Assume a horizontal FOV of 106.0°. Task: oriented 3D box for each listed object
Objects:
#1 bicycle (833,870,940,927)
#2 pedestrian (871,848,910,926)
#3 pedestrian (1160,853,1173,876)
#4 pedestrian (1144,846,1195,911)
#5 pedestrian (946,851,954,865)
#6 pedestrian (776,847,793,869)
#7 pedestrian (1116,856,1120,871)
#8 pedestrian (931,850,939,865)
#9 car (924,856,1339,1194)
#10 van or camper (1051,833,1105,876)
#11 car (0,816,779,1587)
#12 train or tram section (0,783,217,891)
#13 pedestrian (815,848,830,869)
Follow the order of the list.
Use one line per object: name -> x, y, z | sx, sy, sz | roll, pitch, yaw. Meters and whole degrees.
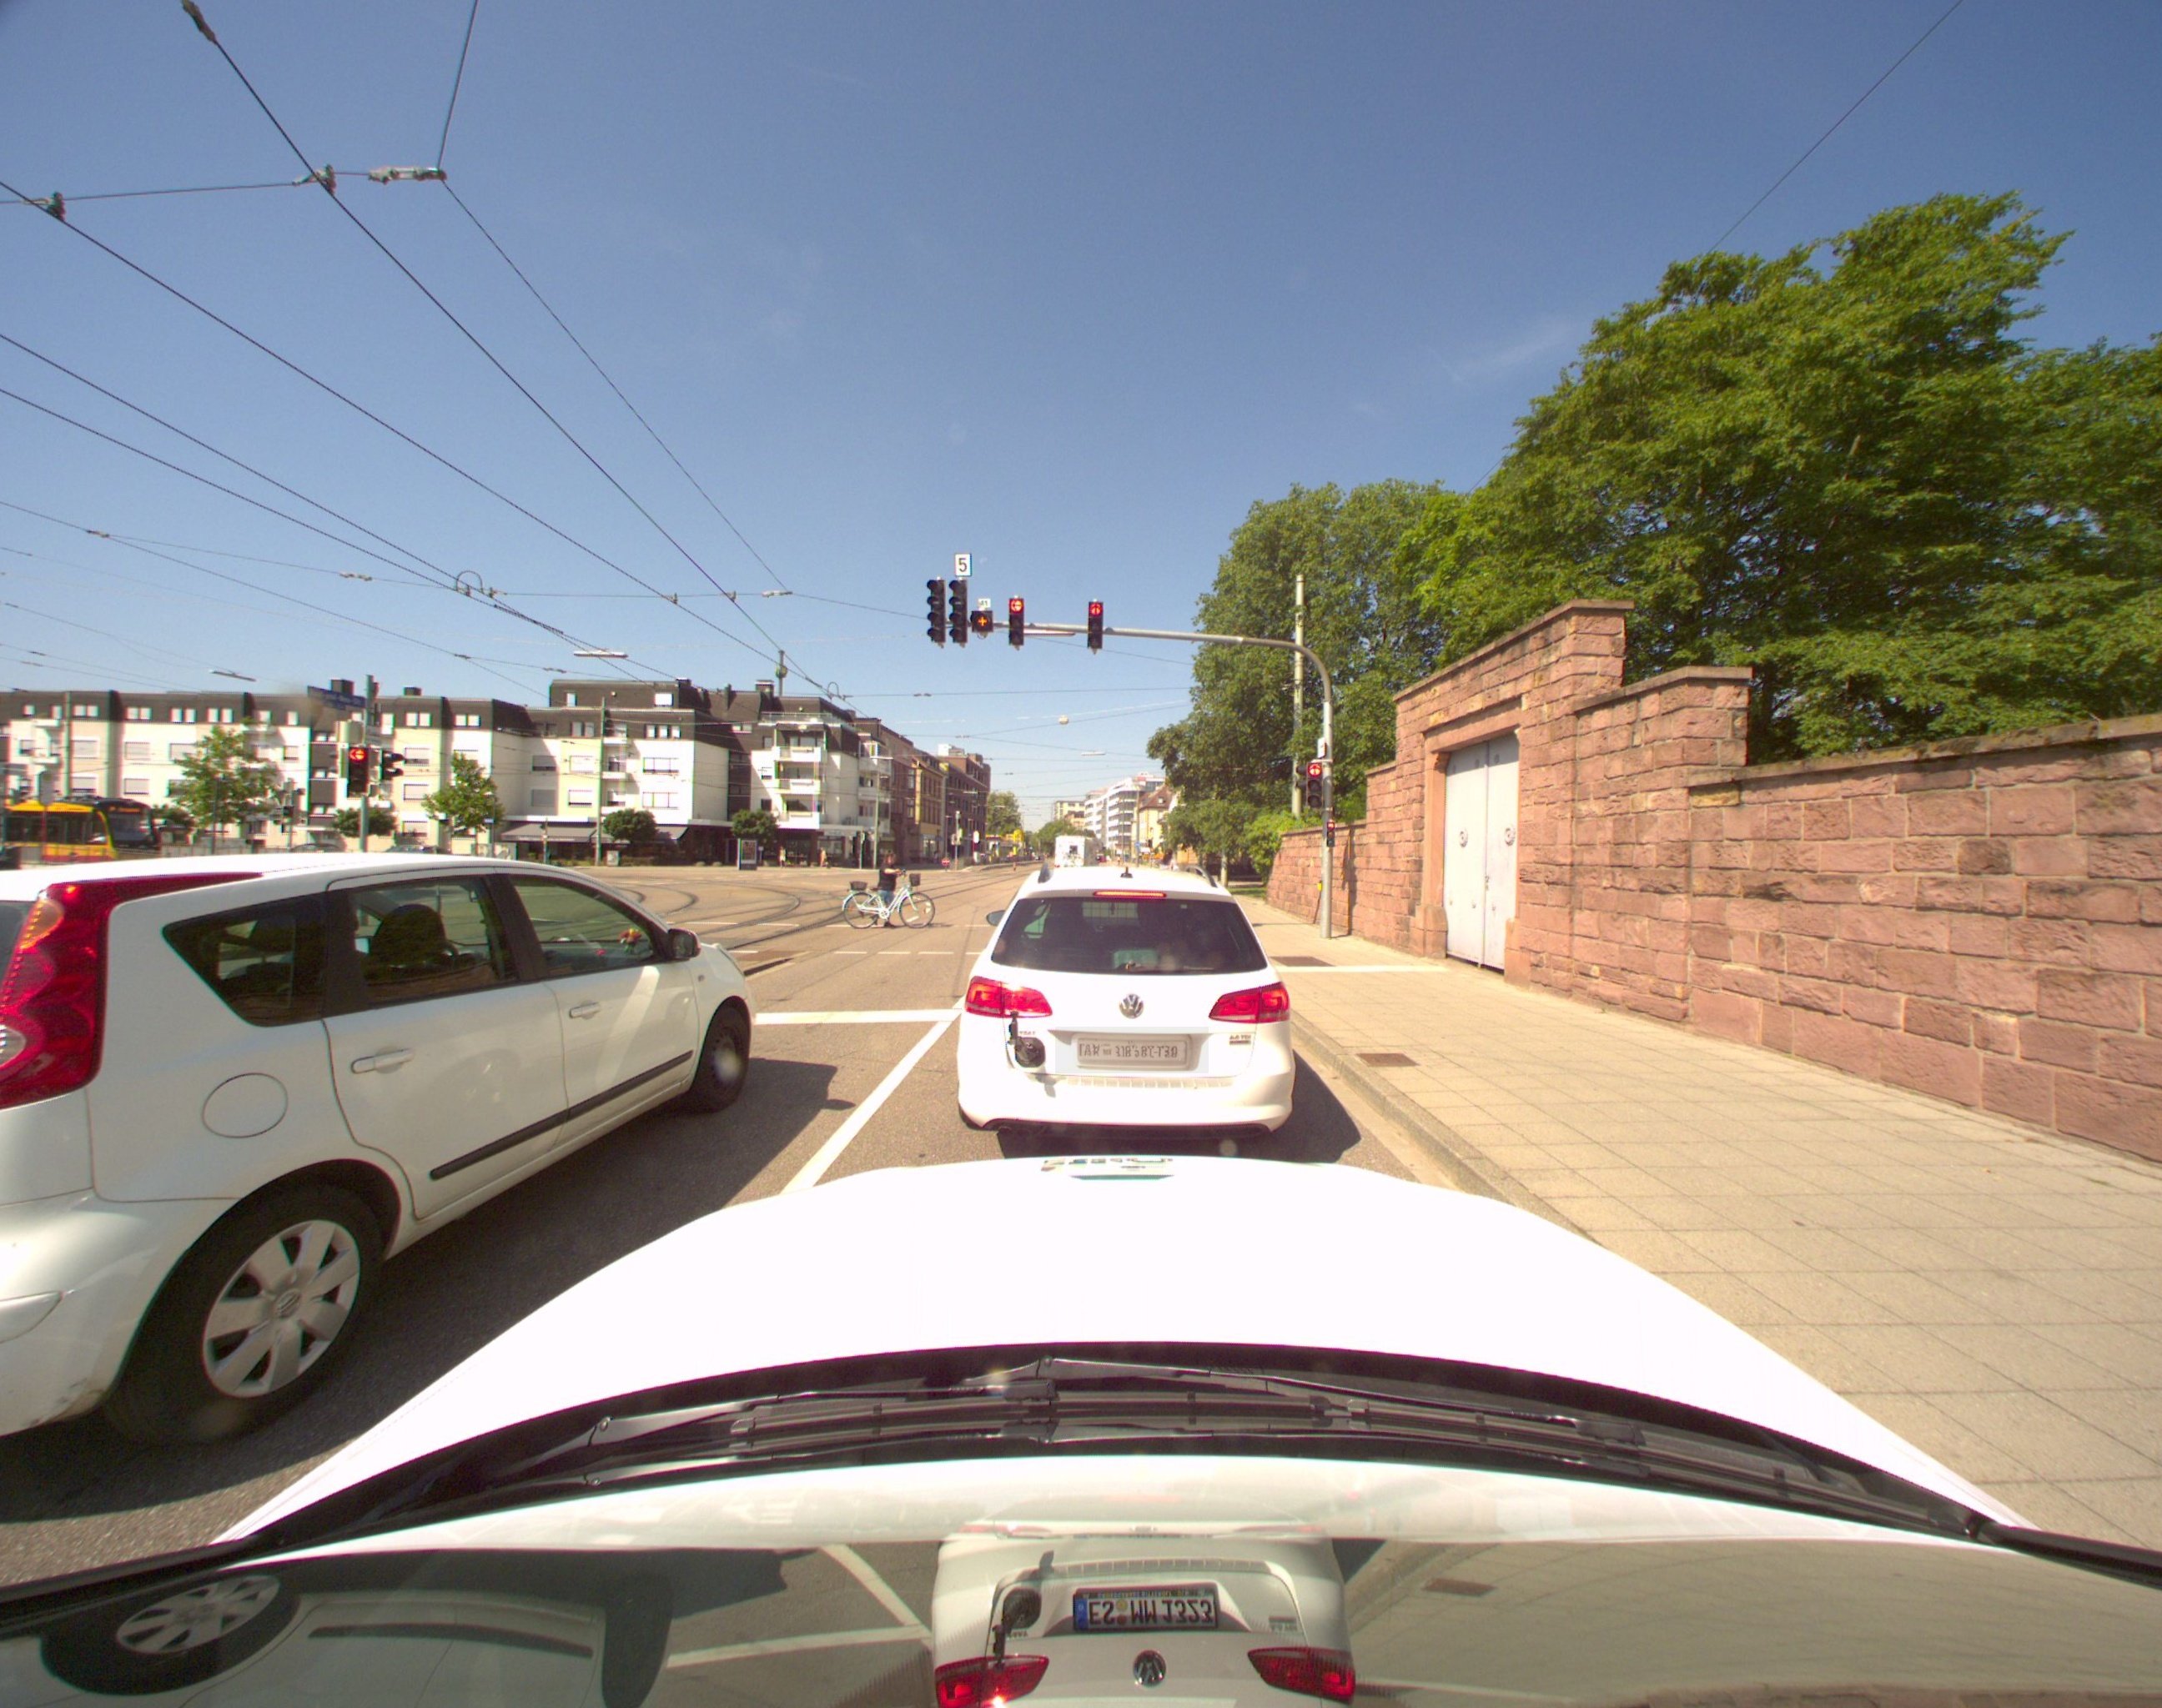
bicycle -> -3.853, 0.877, 16.262 | 2.021, 1.090, 0.707 | 1, 0, -13
pedestrian -> -3.929, 0.658, 16.845 | 0.746, 1.571, 0.672 | -1, 0, -12
pedestrian -> 6.459, 0.782, 61.699 | 0.856, 1.743, 0.978 | -1, -1, 11
pedestrian -> 2.305, 0.638, 21.248 | 0.943, 1.651, 0.981 | -2, -2, 35
pedestrian -> -17.166, 0.548, 106.805 | 0.860, 1.743, 0.973 | -1, -1, -4
pedestrian -> -23.730, 0.319, 65.127 | 0.853, 1.743, 0.981 | -2, -1, 27
pedestrian -> 5.852, 1.572, 129.116 | 0.687, 2.325, 1.233 | -1, -1, 3
pedestrian -> -18.106, 0.453, 100.795 | 0.860, 1.743, 0.973 | -1, -1, -4
car -> 0.275, 0.746, 5.550 | 1.801, 1.448, 4.001 | 0, 0, 1
van or camper -> -0.173, 0.086, 62.688 | 2.547, 3.093, 5.727 | -1, -1, 16
car -> -2.905, 0.690, 3.558 | 1.636, 1.566, 3.805 | -1, 1, 1
train or tram section -> -54.715, -0.686, 41.525 | 16.149, 5.150, 4.735 | -1, -1, 0
pedestrian -> -21.875, 0.359, 68.938 | 0.853, 1.743, 0.980 | -2, -2, 45
